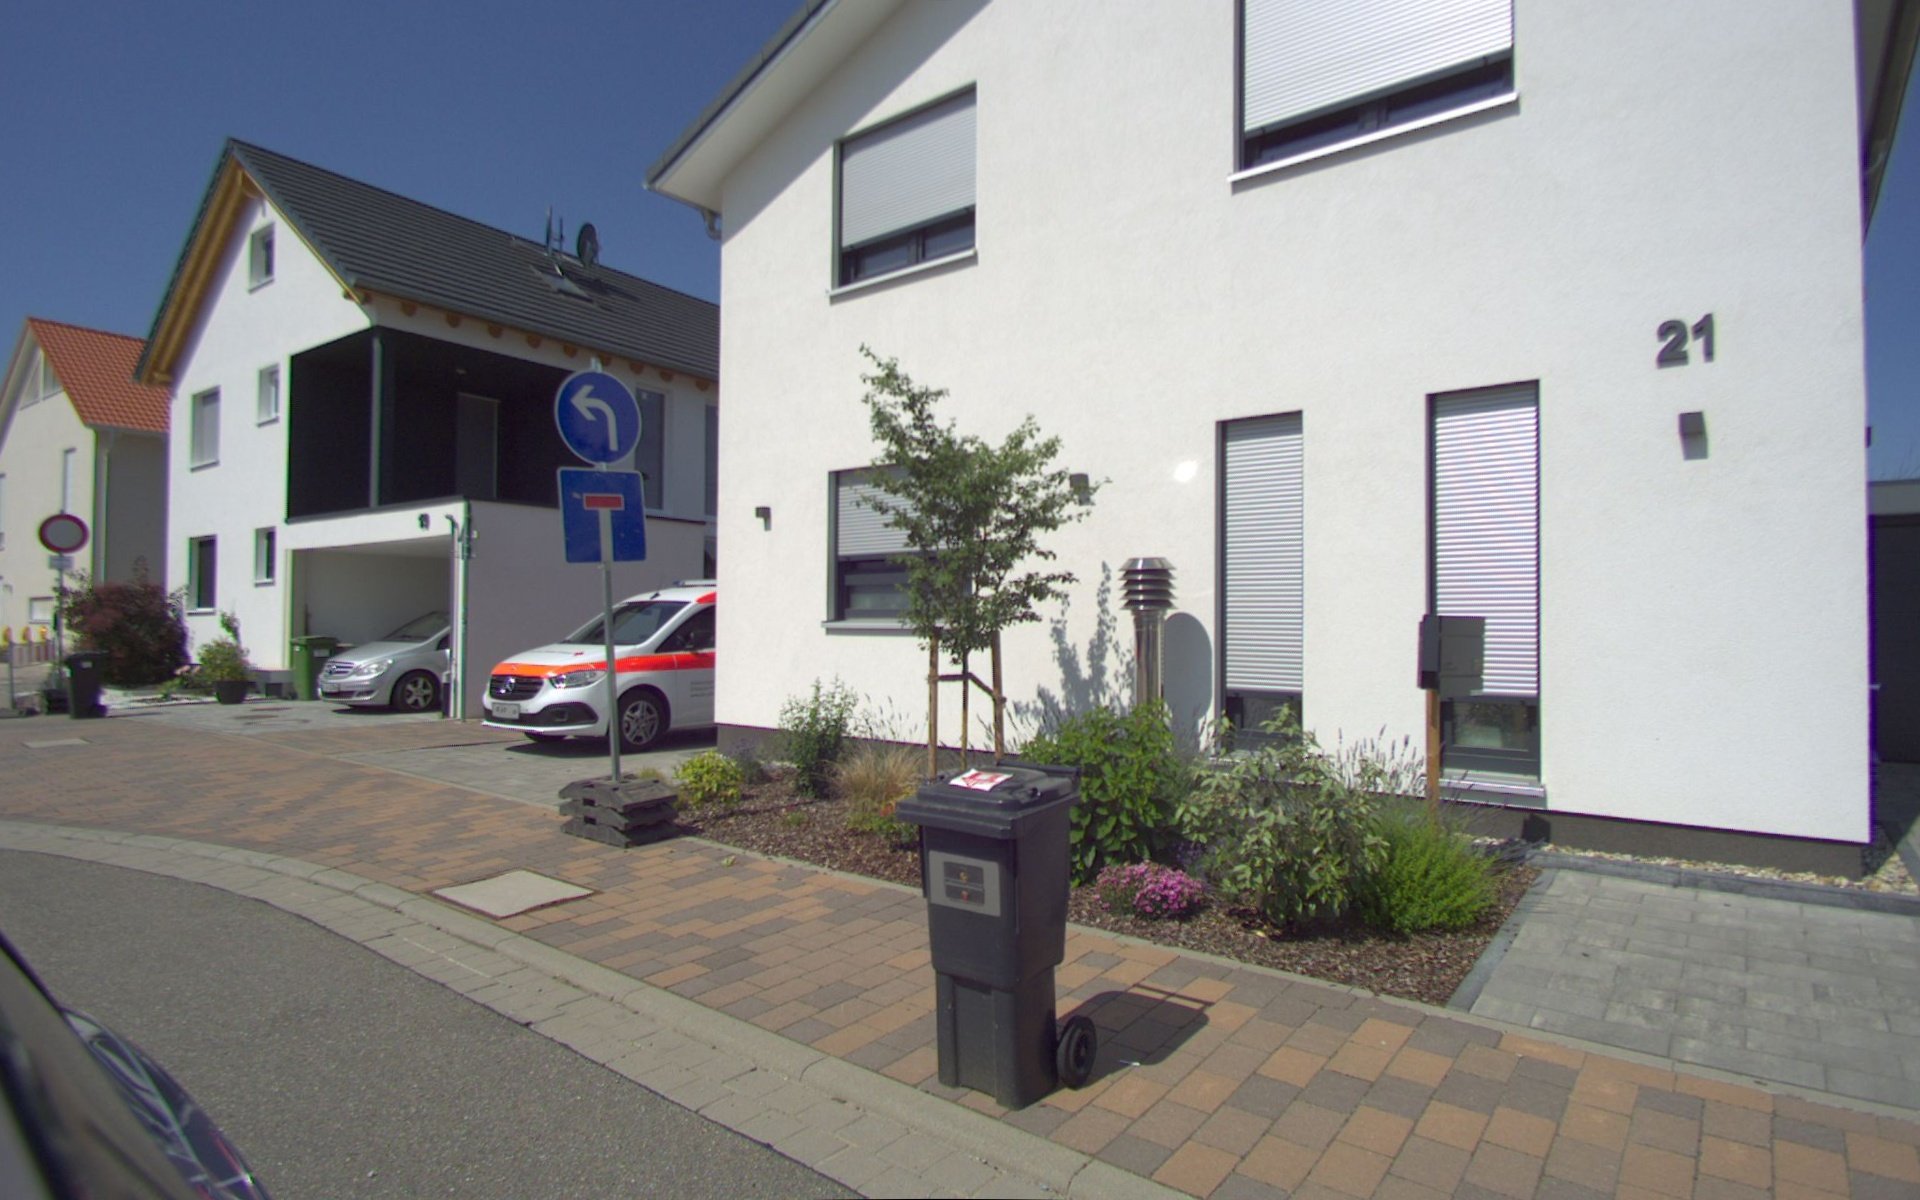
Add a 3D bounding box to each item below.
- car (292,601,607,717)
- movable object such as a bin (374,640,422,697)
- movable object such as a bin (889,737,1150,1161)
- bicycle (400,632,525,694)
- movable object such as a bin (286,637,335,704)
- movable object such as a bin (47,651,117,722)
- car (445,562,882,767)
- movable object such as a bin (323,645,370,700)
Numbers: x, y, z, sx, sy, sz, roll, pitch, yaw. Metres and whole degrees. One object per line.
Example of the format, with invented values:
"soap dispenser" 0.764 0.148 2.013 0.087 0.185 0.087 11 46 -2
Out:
"car" -7.859 0.897 15.987 1.740 1.574 4.118 -1 -3 33
"movable object such as a bin" -10.230 1.240 18.410 0.675 0.994 0.494 0 -1 34
"movable object such as a bin" 0.188 0.920 2.921 0.499 0.955 0.618 0 -1 34
"bicycle" -9.733 1.199 19.893 0.776 1.135 2.111 0 -1 30
"movable object such as a bin" -10.967 1.186 17.085 0.600 1.100 0.494 -3 -3 34
"movable object such as a bin" -12.306 1.197 14.184 0.563 0.944 0.611 -2 -2 34
"car" -3.166 0.682 11.824 1.934 1.889 4.694 -1 -2 36
"movable object such as a bin" -10.682 1.254 17.614 0.560 0.912 0.494 0 -1 34
